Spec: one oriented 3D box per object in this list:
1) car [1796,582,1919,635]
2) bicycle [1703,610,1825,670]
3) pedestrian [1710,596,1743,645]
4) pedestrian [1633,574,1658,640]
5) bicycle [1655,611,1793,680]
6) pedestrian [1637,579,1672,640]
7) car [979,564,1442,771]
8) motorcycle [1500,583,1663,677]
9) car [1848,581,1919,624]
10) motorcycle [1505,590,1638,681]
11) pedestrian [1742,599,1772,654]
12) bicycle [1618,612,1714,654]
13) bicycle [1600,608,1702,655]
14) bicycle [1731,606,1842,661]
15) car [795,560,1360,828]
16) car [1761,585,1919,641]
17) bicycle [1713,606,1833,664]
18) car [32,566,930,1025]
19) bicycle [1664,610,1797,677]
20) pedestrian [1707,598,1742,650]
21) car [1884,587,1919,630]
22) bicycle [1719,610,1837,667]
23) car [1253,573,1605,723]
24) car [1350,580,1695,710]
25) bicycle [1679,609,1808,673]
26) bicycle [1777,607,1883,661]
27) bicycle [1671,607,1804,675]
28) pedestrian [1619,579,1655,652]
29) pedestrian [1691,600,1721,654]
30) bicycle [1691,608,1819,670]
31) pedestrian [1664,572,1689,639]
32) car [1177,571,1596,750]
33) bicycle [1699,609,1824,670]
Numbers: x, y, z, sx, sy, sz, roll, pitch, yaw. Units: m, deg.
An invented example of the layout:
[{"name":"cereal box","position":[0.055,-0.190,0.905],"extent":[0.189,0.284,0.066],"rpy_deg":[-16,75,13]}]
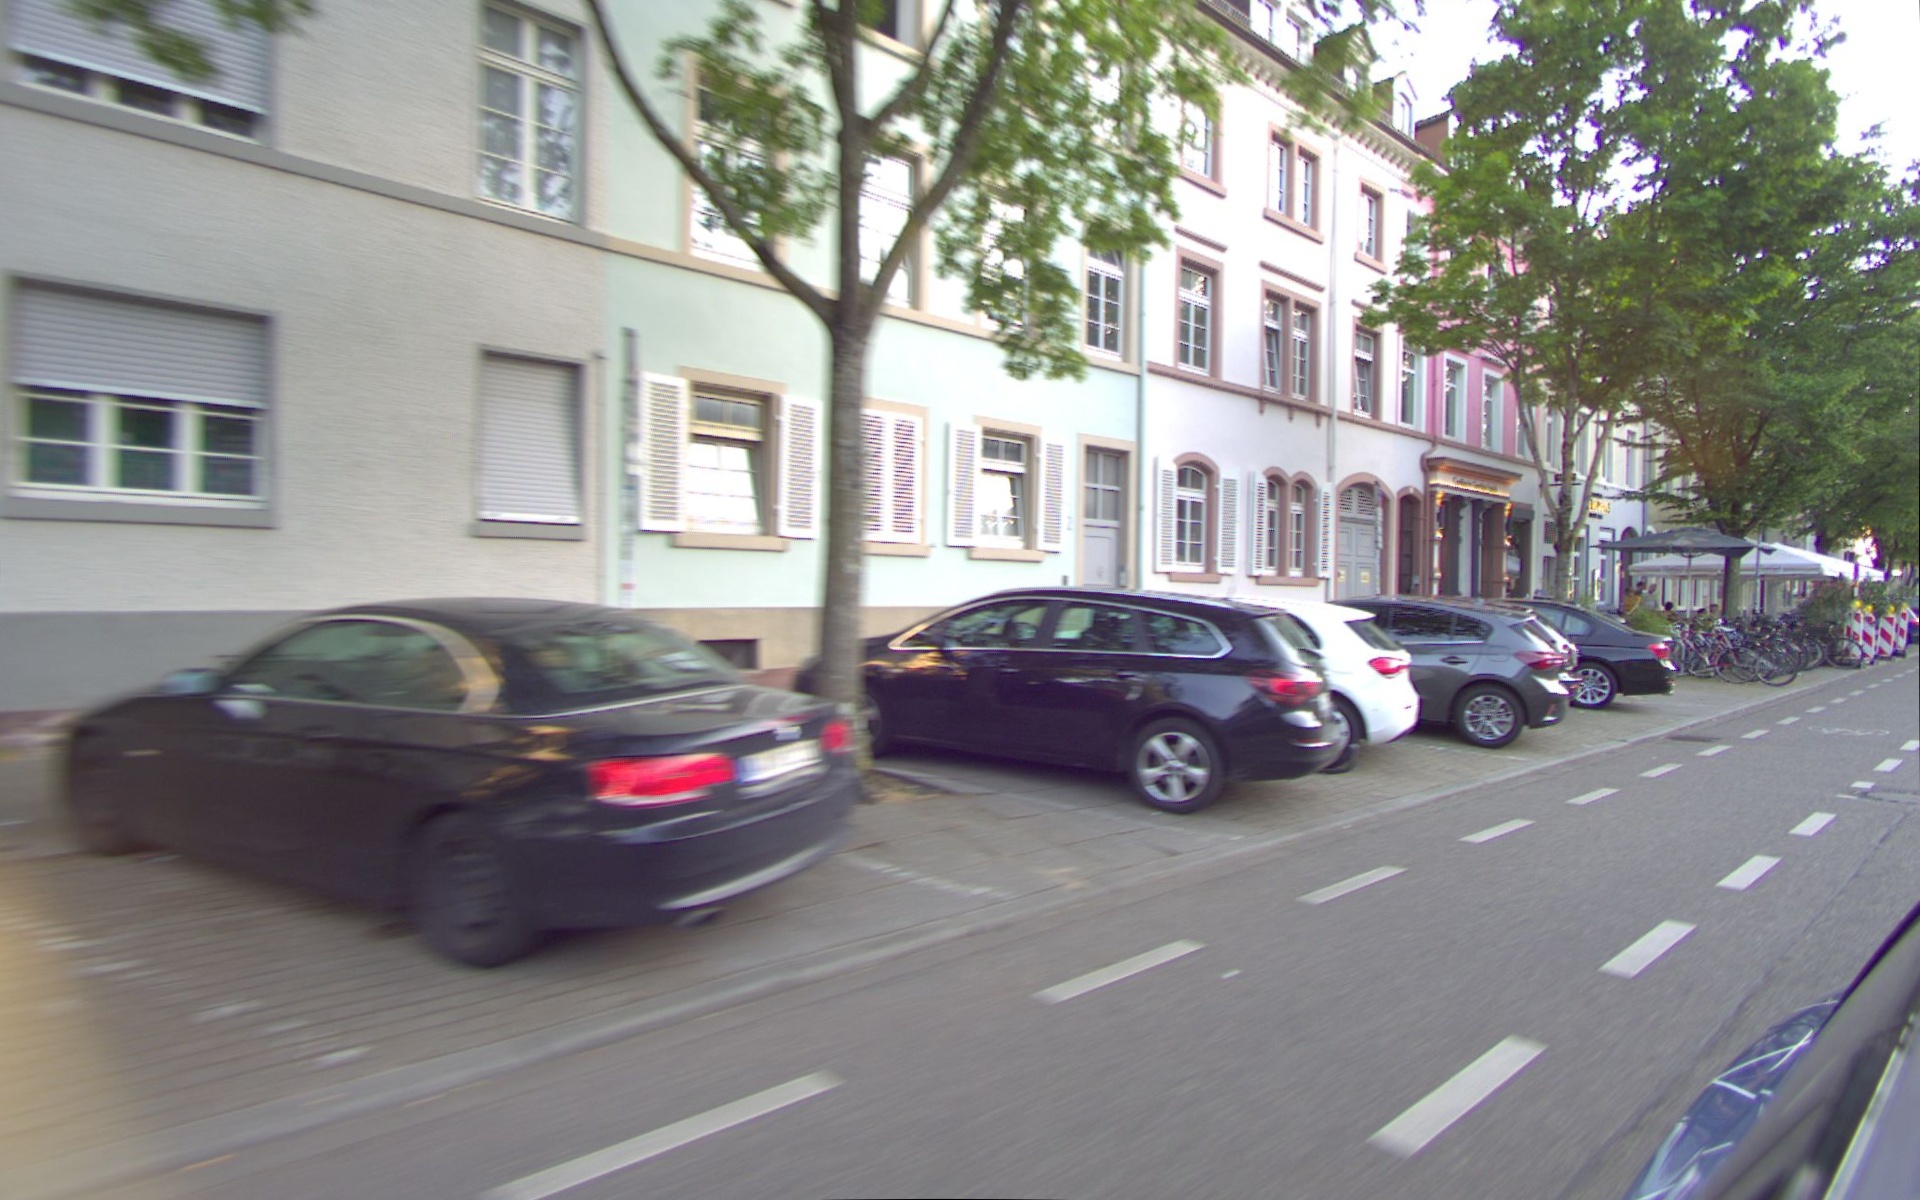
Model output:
[{"name":"car","position":[34.814,0.305,38.502],"extent":[4.112,1.828,1.994],"rpy_deg":[3,2,21]},{"name":"bicycle","position":[16.899,0.820,21.318],"extent":[0.598,1.044,1.890],"rpy_deg":[0,4,-42]},{"name":"pedestrian","position":[21.208,0.562,28.005],"extent":[0.546,1.322,0.710],"rpy_deg":[1,0,22]},{"name":"pedestrian","position":[18.883,0.184,27.887],"extent":[0.548,1.785,0.843],"rpy_deg":[0,0,32]},{"name":"bicycle","position":[13.961,0.804,18.549],"extent":[0.524,1.044,1.907],"rpy_deg":[0,4,-42]},{"name":"pedestrian","position":[20.359,0.270,29.677],"extent":[0.696,1.785,0.710],"rpy_deg":[0,0,22]},{"name":"car","position":[2.468,0.500,10.074],"extent":[4.088,1.488,1.970],"rpy_deg":[4,3,25]},{"name":"motorcycle","position":[10.944,0.483,17.889],"extent":[0.951,1.479,2.226],"rpy_deg":[0,3,-42]},{"name":"car","position":[41.594,0.166,43.644],"extent":[1.973,1.708,4.658],"rpy_deg":[1,3,-41]},{"name":"motorcycle","position":[10.189,0.557,16.915],"extent":[0.524,1.360,1.789],"rpy_deg":[0,3,-42]},{"name":"pedestrian","position":[19.226,0.629,24.415],"extent":[0.502,1.308,0.590],"rpy_deg":[1,0,44]},{"name":"bicycle","position":[16.398,0.749,23.542],"extent":[0.320,0.883,1.818],"rpy_deg":[0,1,-42]},{"name":"bicycle","position":[15.476,0.684,22.720],"extent":[0.320,0.883,1.819],"rpy_deg":[1,4,-42]},{"name":"bicycle","position":[18.495,0.731,22.681],"extent":[0.598,1.044,1.819],"rpy_deg":[0,4,-42]},{"name":"car","position":[0.951,0.541,8.183],"extent":[4.088,1.488,1.998],"rpy_deg":[4,3,25]},{"name":"car","position":[28.849,0.393,32.979],"extent":[3.932,1.572,1.692],"rpy_deg":[3,2,24]},{"name":"bicycle","position":[17.454,0.733,21.754],"extent":[0.598,1.044,1.890],"rpy_deg":[0,4,-42]},{"name":"car","position":[-2.484,0.592,5.183],"extent":[4.223,1.409,1.998],"rpy_deg":[3,2,26]},{"name":"bicycle","position":[14.392,0.785,18.945],"extent":[0.581,1.044,1.866],"rpy_deg":[0,4,-43]},{"name":"pedestrian","position":[19.576,0.613,25.919],"extent":[0.494,1.308,0.600],"rpy_deg":[0,0,-37]},{"name":"car","position":[40.602,0.450,40.937],"extent":[4.652,1.708,1.976],"rpy_deg":[5,3,44]},{"name":"bicycle","position":[17.919,0.811,22.212],"extent":[0.598,1.044,1.890],"rpy_deg":[0,4,-42]},{"name":"car","position":[6.164,0.509,13.400],"extent":[3.935,1.488,1.977],"rpy_deg":[5,3,33]},{"name":"car","position":[8.139,0.551,14.951],"extent":[4.143,1.444,1.804],"rpy_deg":[5,3,31]},{"name":"bicycle","position":[15.356,0.782,19.877],"extent":[0.598,1.044,1.890],"rpy_deg":[0,4,-42]},{"name":"bicycle","position":[19.466,0.744,22.675],"extent":[0.547,1.044,1.682],"rpy_deg":[0,4,-42]},{"name":"bicycle","position":[14.878,0.753,19.412],"extent":[0.663,1.080,1.890],"rpy_deg":[0,4,-42]},{"name":"pedestrian","position":[16.945,0.377,25.325],"extent":[0.878,1.785,0.551],"rpy_deg":[0,0,-41]},{"name":"pedestrian","position":[18.438,0.653,25.007],"extent":[0.590,1.308,0.502],"rpy_deg":[0,0,-45]},{"name":"bicycle","position":[15.904,0.757,20.289],"extent":[0.598,1.044,1.890],"rpy_deg":[0,4,-42]},{"name":"pedestrian","position":[19.512,0.146,27.564],"extent":[0.549,1.785,0.706],"rpy_deg":[1,0,35]},{"name":"car","position":[4.785,0.535,11.544],"extent":[4.101,1.488,1.802],"rpy_deg":[5,3,33]},{"name":"bicycle","position":[16.439,0.784,20.793],"extent":[0.598,1.044,1.890],"rpy_deg":[0,4,-42]}]
